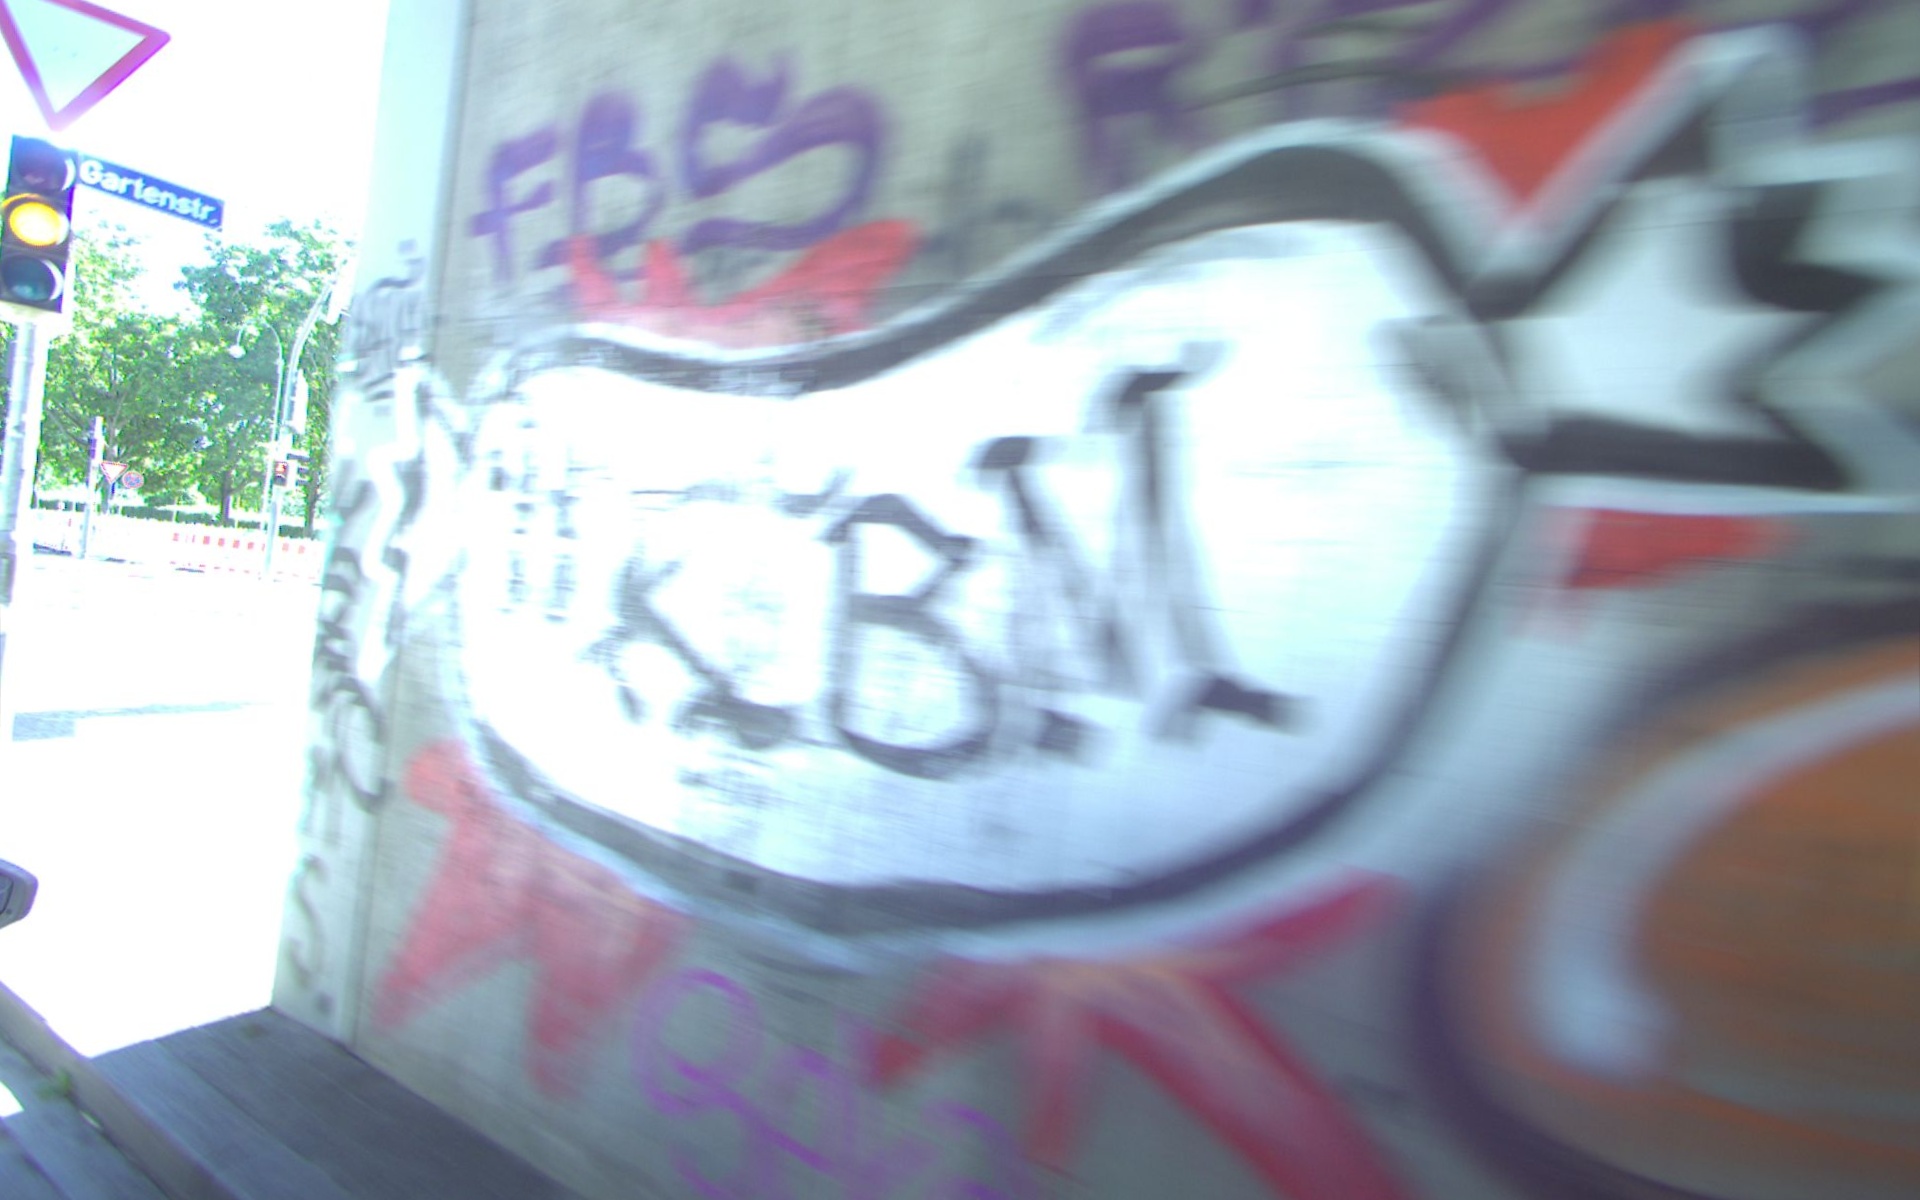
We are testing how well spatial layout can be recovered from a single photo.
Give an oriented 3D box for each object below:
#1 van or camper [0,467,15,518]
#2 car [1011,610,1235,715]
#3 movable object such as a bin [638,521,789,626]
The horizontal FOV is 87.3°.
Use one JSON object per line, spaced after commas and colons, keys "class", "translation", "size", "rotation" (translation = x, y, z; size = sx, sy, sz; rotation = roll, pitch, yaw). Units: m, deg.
{"class": "van or camper", "translation": [-59.647, -6.626, 58.870], "size": [2.541, 2.967, 6.063], "rotation": [6, 1, 42]}
{"class": "car", "translation": [3.289, 1.271, 19.864], "size": [4.289, 1.640, 1.915], "rotation": [7, 0, -40]}
{"class": "movable object such as a bin", "translation": [-9.645, -1.009, 39.573], "size": [2.797, 3.402, 4.690], "rotation": [6, -2, 42]}
